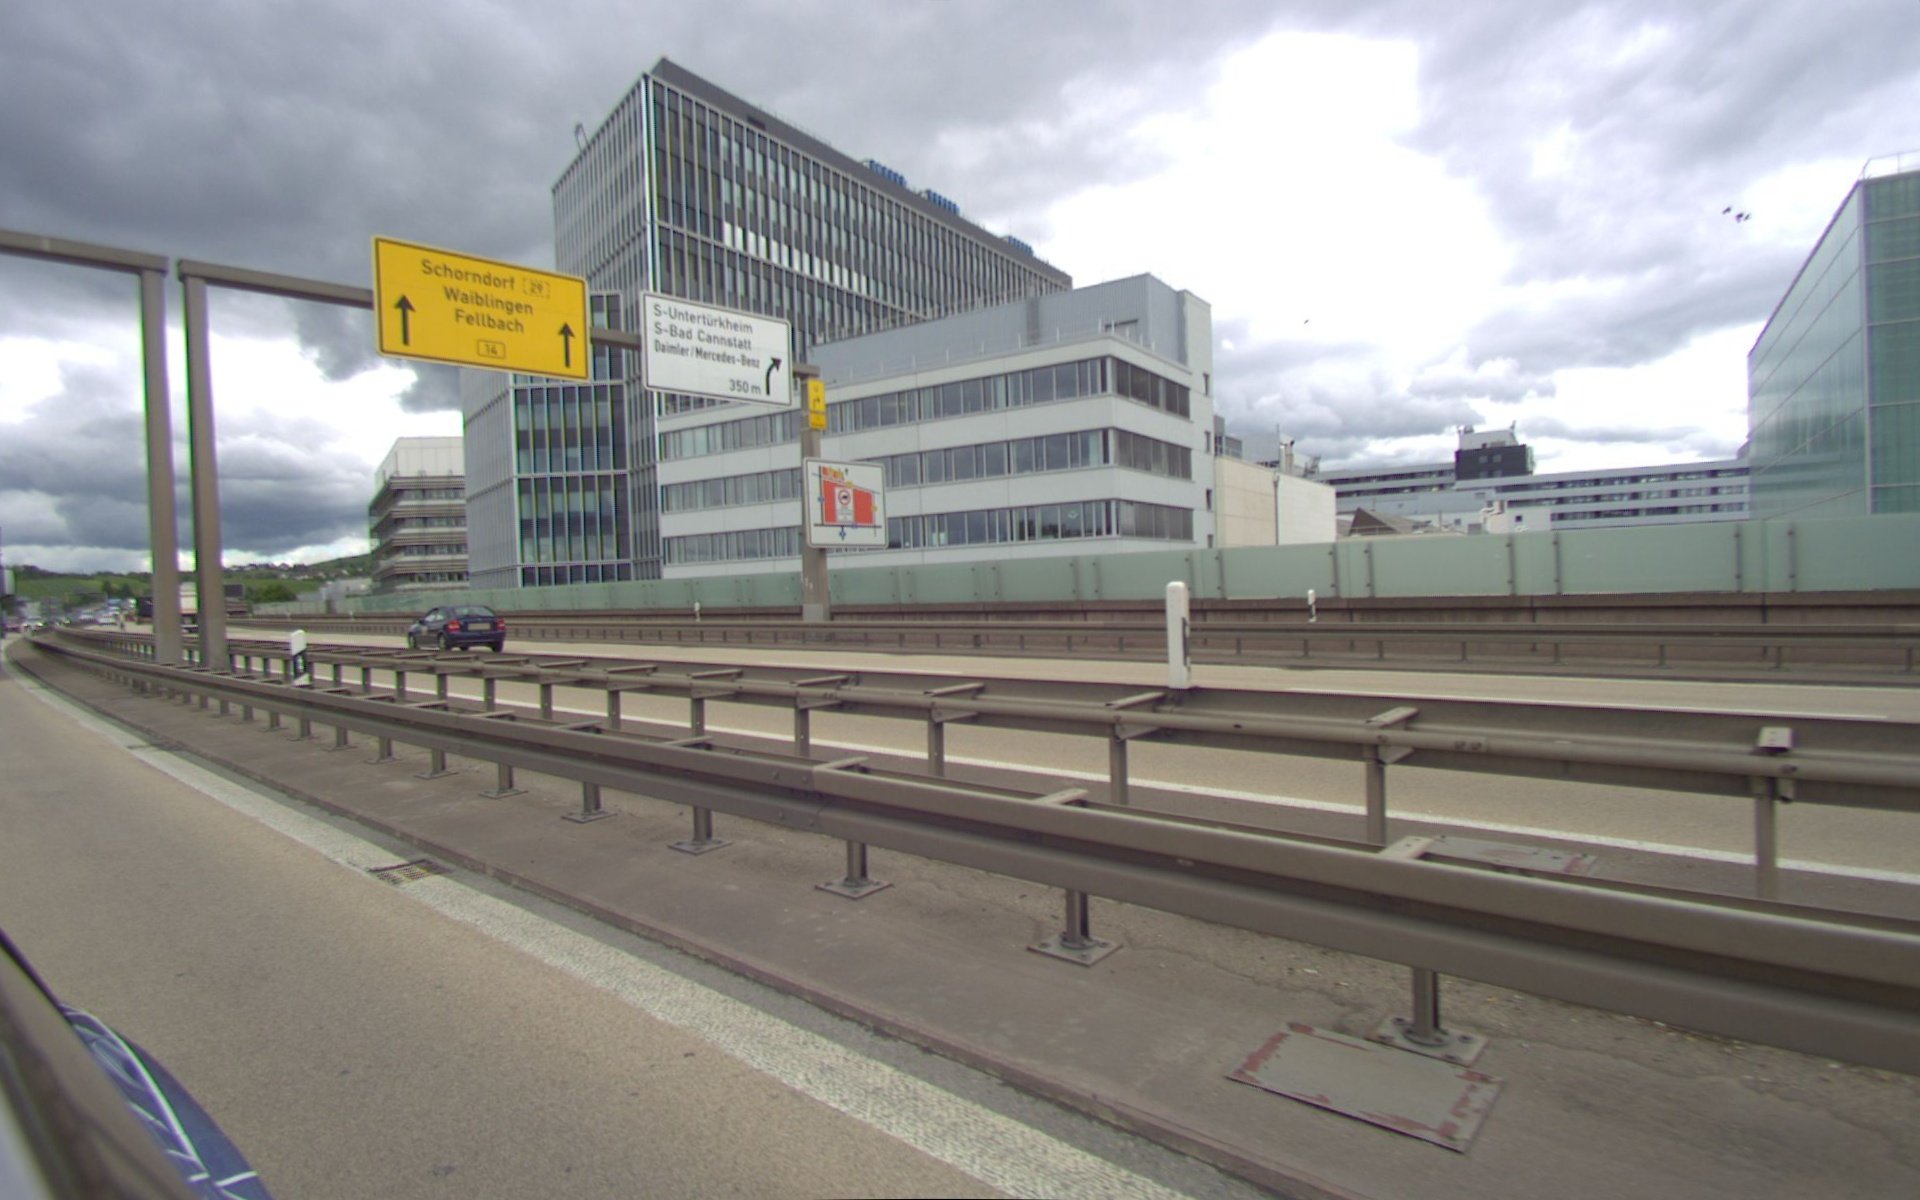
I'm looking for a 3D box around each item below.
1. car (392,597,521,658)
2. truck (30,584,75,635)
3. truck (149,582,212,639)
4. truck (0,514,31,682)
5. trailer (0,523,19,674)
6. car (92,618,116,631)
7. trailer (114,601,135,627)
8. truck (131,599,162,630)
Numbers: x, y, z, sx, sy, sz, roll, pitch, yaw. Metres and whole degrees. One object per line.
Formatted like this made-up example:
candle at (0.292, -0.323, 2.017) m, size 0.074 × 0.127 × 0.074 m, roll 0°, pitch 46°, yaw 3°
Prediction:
car at (-15.088, 0.778, 30.215) m, size 4.407 × 1.687 × 1.972 m, roll -1°, pitch 0°, yaw 42°
truck at (-86.759, 0.921, 96.692) m, size 3.020 × 4.597 × 12.084 m, roll -1°, pitch 0°, yaw -42°
truck at (-56.840, 0.729, 73.634) m, size 3.019 × 3.805 × 12.538 m, roll -1°, pitch 0°, yaw -40°
truck at (-26.030, 0.021, 25.743) m, size 5.690 × 4.067 × 3.100 m, roll -1°, pitch 1°, yaw 44°
trailer at (-30.822, 0.085, 30.310) m, size 11.768 × 4.056 × 3.146 m, roll -1°, pitch 1°, yaw 44°
car at (-113.353, 3.290, 134.008) m, size 4.810 × 1.618 × 1.971 m, roll -1°, pitch 0°, yaw 45°
trailer at (-149.990, 2.447, 181.542) m, size 2.809 × 4.017 × 11.906 m, roll 0°, pitch 2°, yaw -40°
truck at (-111.467, 1.999, 138.741) m, size 3.017 × 4.096 × 8.681 m, roll -1°, pitch 0°, yaw -38°
